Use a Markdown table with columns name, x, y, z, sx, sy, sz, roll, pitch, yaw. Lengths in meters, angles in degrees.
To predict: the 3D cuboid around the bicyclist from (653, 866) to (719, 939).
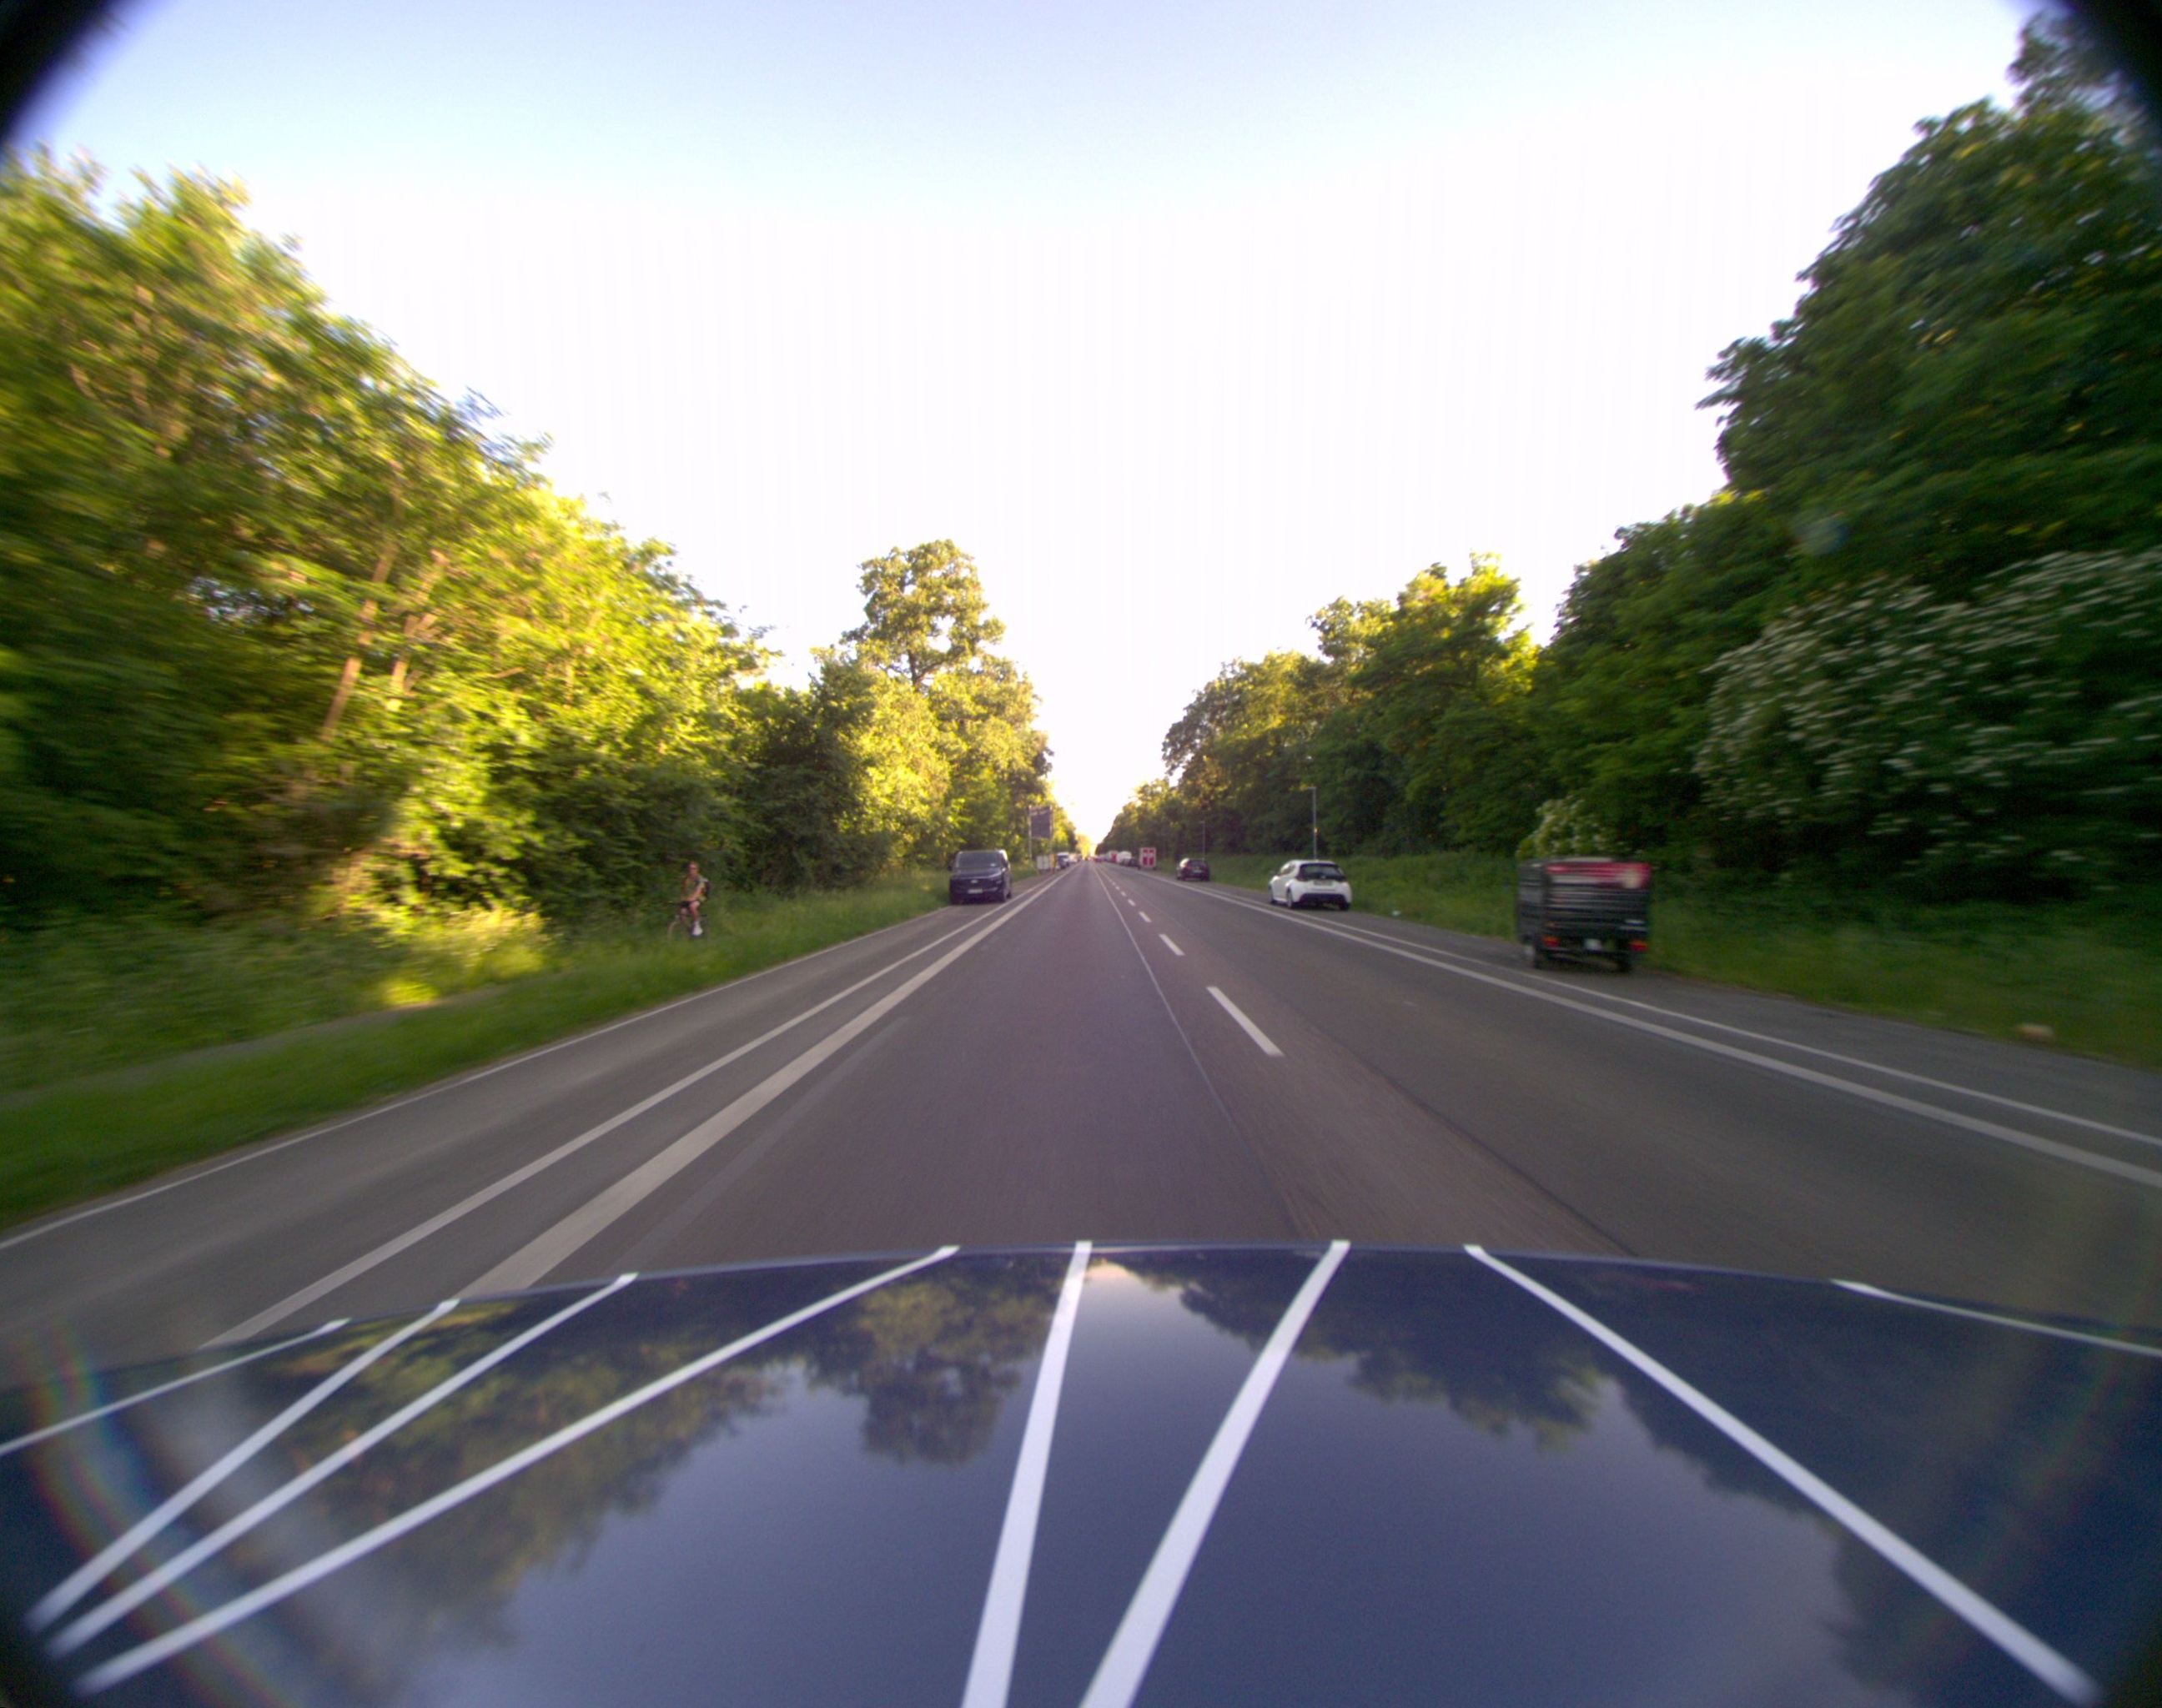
| name | x | y | z | sx | sy | sz | roll | pitch | yaw |
| --- | --- | --- | --- | --- | --- | --- | --- | --- | --- |
| bicyclist | -7.683 | 0.918 | 14.829 | 0.612 | 1.317 | 1.175 | -2 | 0 | 1 |

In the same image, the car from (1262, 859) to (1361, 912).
| name | x | y | z | sx | sy | sz | roll | pitch | yaw |
| --- | --- | --- | --- | --- | --- | --- | --- | --- | --- |
| car | 7.081 | 0.923 | 23.811 | 1.871 | 1.442 | 4.071 | 2 | 0 | 1 |

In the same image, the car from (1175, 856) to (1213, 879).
| name | x | y | z | sx | sy | sz | roll | pitch | yaw |
| --- | --- | --- | --- | --- | --- | --- | --- | --- | --- |
| car | 7.459 | 0.860 | 50.466 | 1.859 | 1.456 | 4.784 | -1 | 0 | 1 |

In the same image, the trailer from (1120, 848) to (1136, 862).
| name | x | y | z | sx | sy | sz | roll | pitch | yaw |
| --- | --- | --- | --- | --- | --- | --- | --- | --- | --- |
| trailer | 8.502 | 0.110 | 138.264 | 2.352 | 2.514 | 4.343 | 0 | 0 | -3 |

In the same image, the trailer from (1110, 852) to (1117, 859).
| name | x | y | z | sx | sy | sz | roll | pitch | yaw |
| --- | --- | --- | --- | --- | --- | --- | --- | --- | --- |
| trailer | 8.564 | 0.384 | 199.613 | 1.857 | 2.002 | 3.561 | 2 | 0 | 1 |

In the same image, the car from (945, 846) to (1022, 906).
| name | x | y | z | sx | sy | sz | roll | pitch | yaw |
| --- | --- | --- | --- | --- | --- | --- | --- | --- | --- |
| car | -3.599 | 0.765 | 29.003 | 2.119 | 2.002 | 5.039 | -3 | 0 | 1 |

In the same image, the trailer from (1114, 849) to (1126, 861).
| name | x | y | z | sx | sy | sz | roll | pitch | yaw |
| --- | --- | --- | --- | --- | --- | --- | --- | --- | --- |
| trailer | 8.216 | 0.226 | 160.256 | 2.072 | 2.466 | 3.560 | 0 | 0 | -3 |

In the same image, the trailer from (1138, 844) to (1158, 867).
| name | x | y | z | sx | sy | sz | roll | pitch | yaw |
| --- | --- | --- | --- | --- | --- | --- | --- | --- | --- |
| trailer | 7.911 | 0.136 | 89.736 | 1.998 | 2.606 | 4.086 | -1 | 0 | 1 |

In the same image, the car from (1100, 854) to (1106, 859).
| name | x | y | z | sx | sy | sz | roll | pitch | yaw |
| --- | --- | --- | --- | --- | --- | --- | --- | --- | --- |
| car | 5.662 | 0.687 | 197.735 | 1.608 | 1.412 | 3.518 | 0 | 0 | 0 |

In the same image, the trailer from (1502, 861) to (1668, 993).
| name | x | y | z | sx | sy | sz | roll | pitch | yaw |
| --- | --- | --- | --- | --- | --- | --- | --- | --- | --- |
| trailer | 6.969 | 0.912 | 10.755 | 1.397 | 1.565 | 2.678 | -1 | 0 | 21 |

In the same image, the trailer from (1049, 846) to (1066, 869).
| name | x | y | z | sx | sy | sz | roll | pitch | yaw |
| --- | --- | --- | --- | --- | --- | --- | --- | --- | --- |
| trailer | -2.663 | 0.381 | 86.467 | 1.617 | 2.494 | 4.000 | -2 | 1 | 0 |

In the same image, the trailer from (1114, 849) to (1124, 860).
| name | x | y | z | sx | sy | sz | roll | pitch | yaw |
| --- | --- | --- | --- | --- | --- | --- | --- | --- | --- |
| trailer | 8.810 | 0.084 | 175.278 | 2.072 | 2.466 | 3.560 | 0 | 0 | -3 |

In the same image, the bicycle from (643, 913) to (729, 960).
| name | x | y | z | sx | sy | sz | roll | pitch | yaw |
| --- | --- | --- | --- | --- | --- | --- | --- | --- | --- |
| bicycle | -7.673 | 1.582 | 14.861 | 0.592 | 0.688 | 1.996 | -2 | 0 | 1 |

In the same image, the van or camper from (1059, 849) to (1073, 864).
| name | x | y | z | sx | sy | sz | roll | pitch | yaw |
| --- | --- | --- | --- | --- | --- | --- | --- | --- | --- |
| van or camper | -2.481 | 0.354 | 127.046 | 2.131 | 2.468 | 6.305 | -1 | 0 | 2 |

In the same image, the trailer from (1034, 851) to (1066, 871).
| name | x | y | z | sx | sy | sz | roll | pitch | yaw |
| --- | --- | --- | --- | --- | --- | --- | --- | --- | --- |
| trailer | -3.195 | 0.667 | 79.247 | 1.964 | 2.011 | 3.849 | -1 | 0 | 21 |

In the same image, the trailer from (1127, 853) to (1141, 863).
| name | x | y | z | sx | sy | sz | roll | pitch | yaw |
| --- | --- | --- | --- | --- | --- | --- | --- | --- | --- |
| trailer | 8.249 | 0.659 | 118.760 | 1.846 | 1.457 | 4.466 | -1 | 0 | 1 |

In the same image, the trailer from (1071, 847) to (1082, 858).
| name | x | y | z | sx | sy | sz | roll | pitch | yaw |
| --- | --- | --- | --- | --- | --- | --- | --- | --- | --- |
| trailer | -1.407 | -0.545 | 218.893 | 2.928 | 2.825 | 9.881 | -4 | 1 | 0 |

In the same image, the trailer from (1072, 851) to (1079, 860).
| name | x | y | z | sx | sy | sz | roll | pitch | yaw |
| --- | --- | --- | --- | --- | --- | --- | --- | --- | --- |
| trailer | -1.514 | 0.404 | 196.078 | 1.759 | 2.149 | 3.539 | -1 | 0 | -1 |

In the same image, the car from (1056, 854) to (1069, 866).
| name | x | y | z | sx | sy | sz | roll | pitch | yaw |
| --- | --- | --- | --- | --- | --- | --- | --- | --- | --- |
| car | -2.467 | 0.815 | 101.431 | 1.590 | 1.521 | 3.011 | -3 | 0 | 1 |

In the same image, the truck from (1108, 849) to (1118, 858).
| name | x | y | z | sx | sy | sz | roll | pitch | yaw |
| --- | --- | --- | --- | --- | --- | --- | --- | --- | --- |
| truck | 9.852 | -0.106 | 233.856 | 2.489 | 2.807 | 8.424 | -2 | 0 | 1 |

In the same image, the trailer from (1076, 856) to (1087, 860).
| name | x | y | z | sx | sy | sz | roll | pitch | yaw |
| --- | --- | --- | --- | --- | --- | --- | --- | --- | --- |
| trailer | 0.106 | 1.050 | 180.324 | 2.439 | 0.794 | 5.659 | -2 | 0 | 1 |

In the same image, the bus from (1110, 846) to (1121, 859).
| name | x | y | z | sx | sy | sz | roll | pitch | yaw |
| --- | --- | --- | --- | --- | --- | --- | --- | --- | --- |
| bus | 9.973 | -0.454 | 222.584 | 2.835 | 3.411 | 11.199 | -2 | 1 | 1 |
